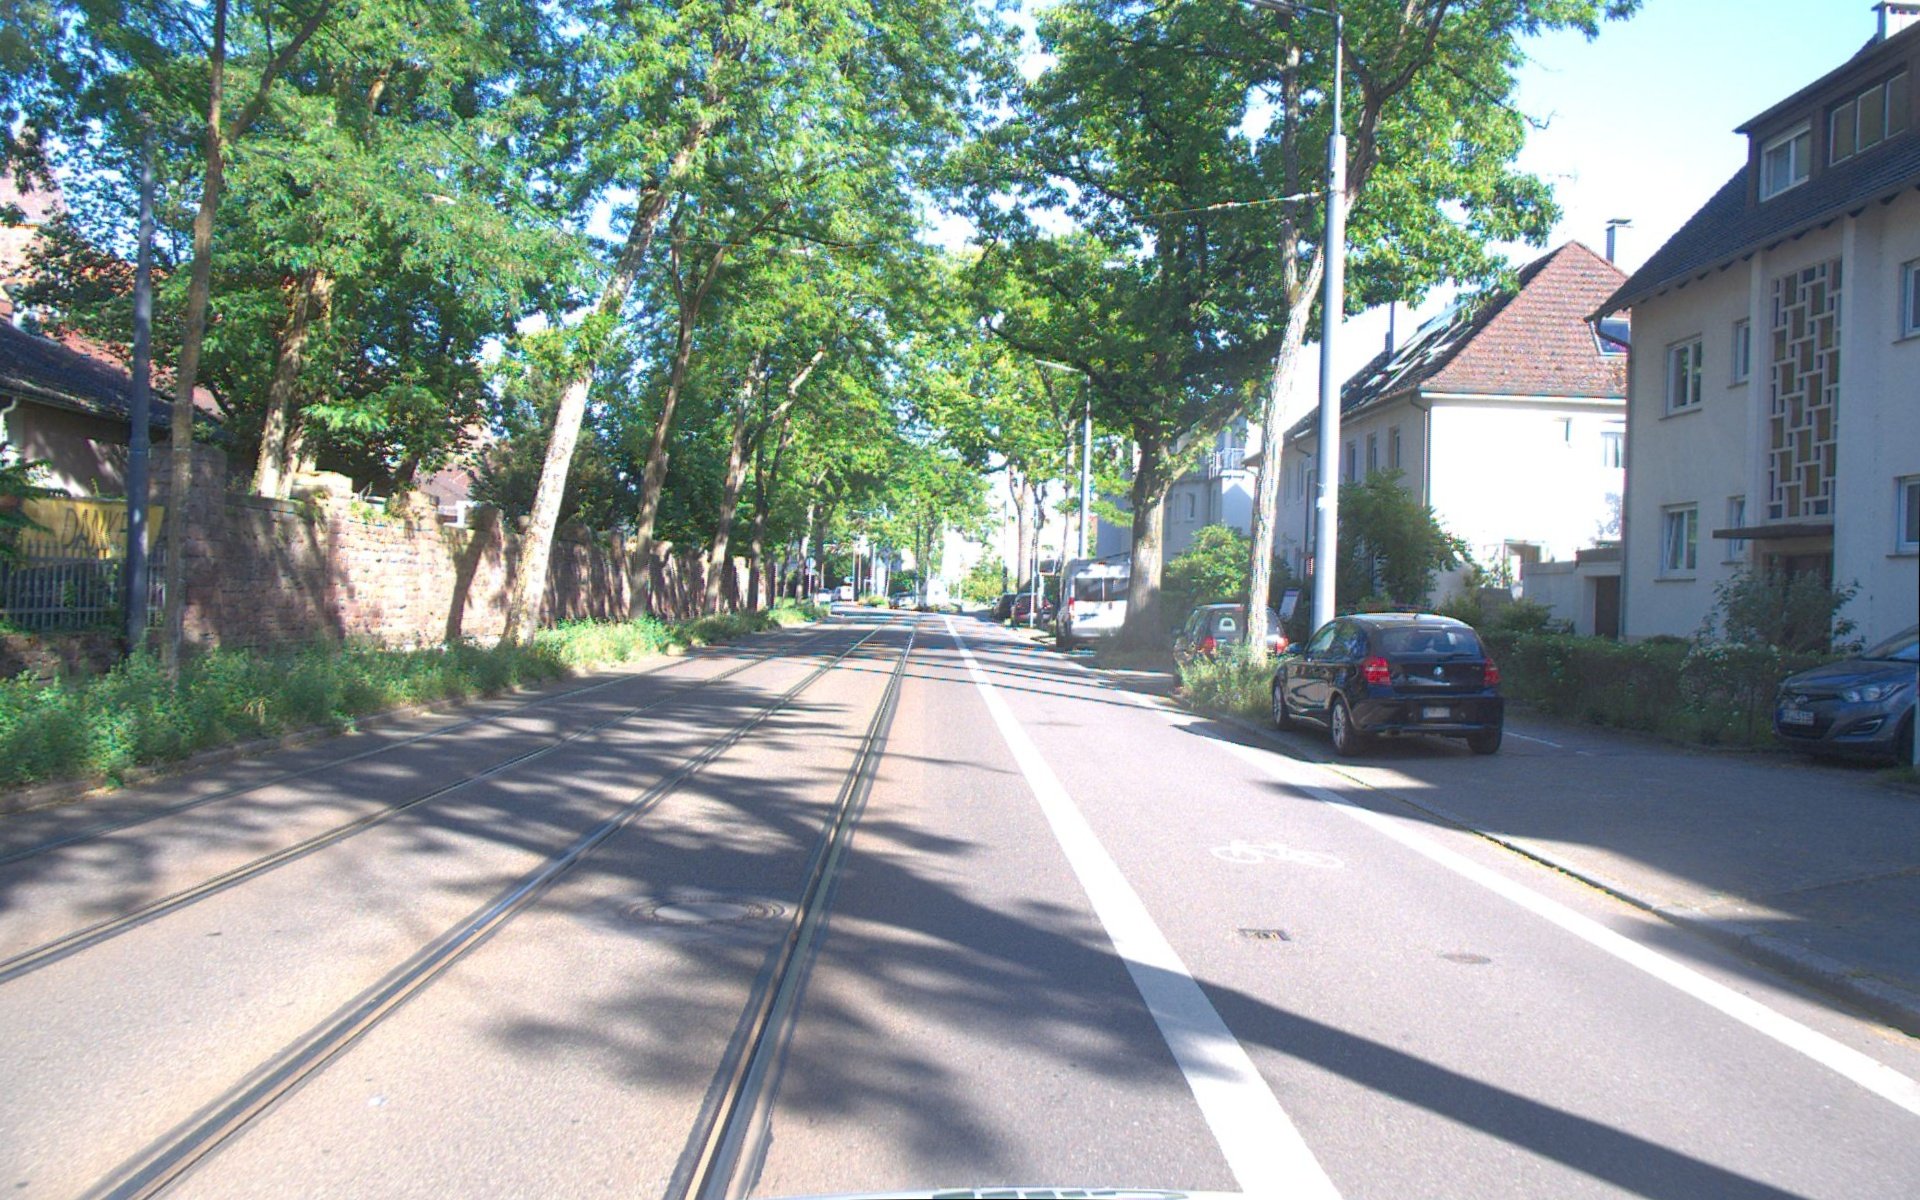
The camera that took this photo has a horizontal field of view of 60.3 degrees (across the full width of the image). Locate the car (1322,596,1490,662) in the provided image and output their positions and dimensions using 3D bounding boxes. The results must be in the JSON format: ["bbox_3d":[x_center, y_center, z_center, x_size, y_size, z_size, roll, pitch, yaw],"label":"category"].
[{"bbox_3d":[10.222,0.642,37.994,3.340,1.461,1.728,0,0,-14],"label":"car"}]

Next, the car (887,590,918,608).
[{"bbox_3d":[-5.331,-0.079,152.737,1.968,1.588,4.377,1,0,-13],"label":"car"}]

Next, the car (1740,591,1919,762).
[{"bbox_3d":[9.698,0.688,15.867,3.667,1.515,1.737,0,0,-7],"label":"car"}]

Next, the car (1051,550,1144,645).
[{"bbox_3d":[4.052,-0.086,49.688,2.200,2.700,5.584,0,0,-1],"label":"car"}]

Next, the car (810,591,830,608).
[{"bbox_3d":[-14.629,-0.072,172.629,1.830,1.704,4.166,1,0,-7],"label":"car"}]

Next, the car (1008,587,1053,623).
[{"bbox_3d":[3.449,0.237,81.660,1.962,1.704,4.391,0,0,-1],"label":"car"}]

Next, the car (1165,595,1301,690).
[{"bbox_3d":[4.543,0.663,27.934,1.594,1.422,3.644,-1,1,-1],"label":"car"}]

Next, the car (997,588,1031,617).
[{"bbox_3d":[3.247,0.122,99.052,1.961,1.704,4.394,0,0,3],"label":"car"}]

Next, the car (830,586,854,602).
[{"bbox_3d":[-14.444,-0.721,202.487,1.972,1.943,4.369,0,0,-18],"label":"car"}]

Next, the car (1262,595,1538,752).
[{"bbox_3d":[4.752,0.720,18.513,1.748,1.473,4.299,-1,1,-3],"label":"car"}]

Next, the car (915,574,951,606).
[{"bbox_3d":[-2.219,-0.805,135.022,1.960,2.501,4.493,1,0,-14],"label":"car"}]
